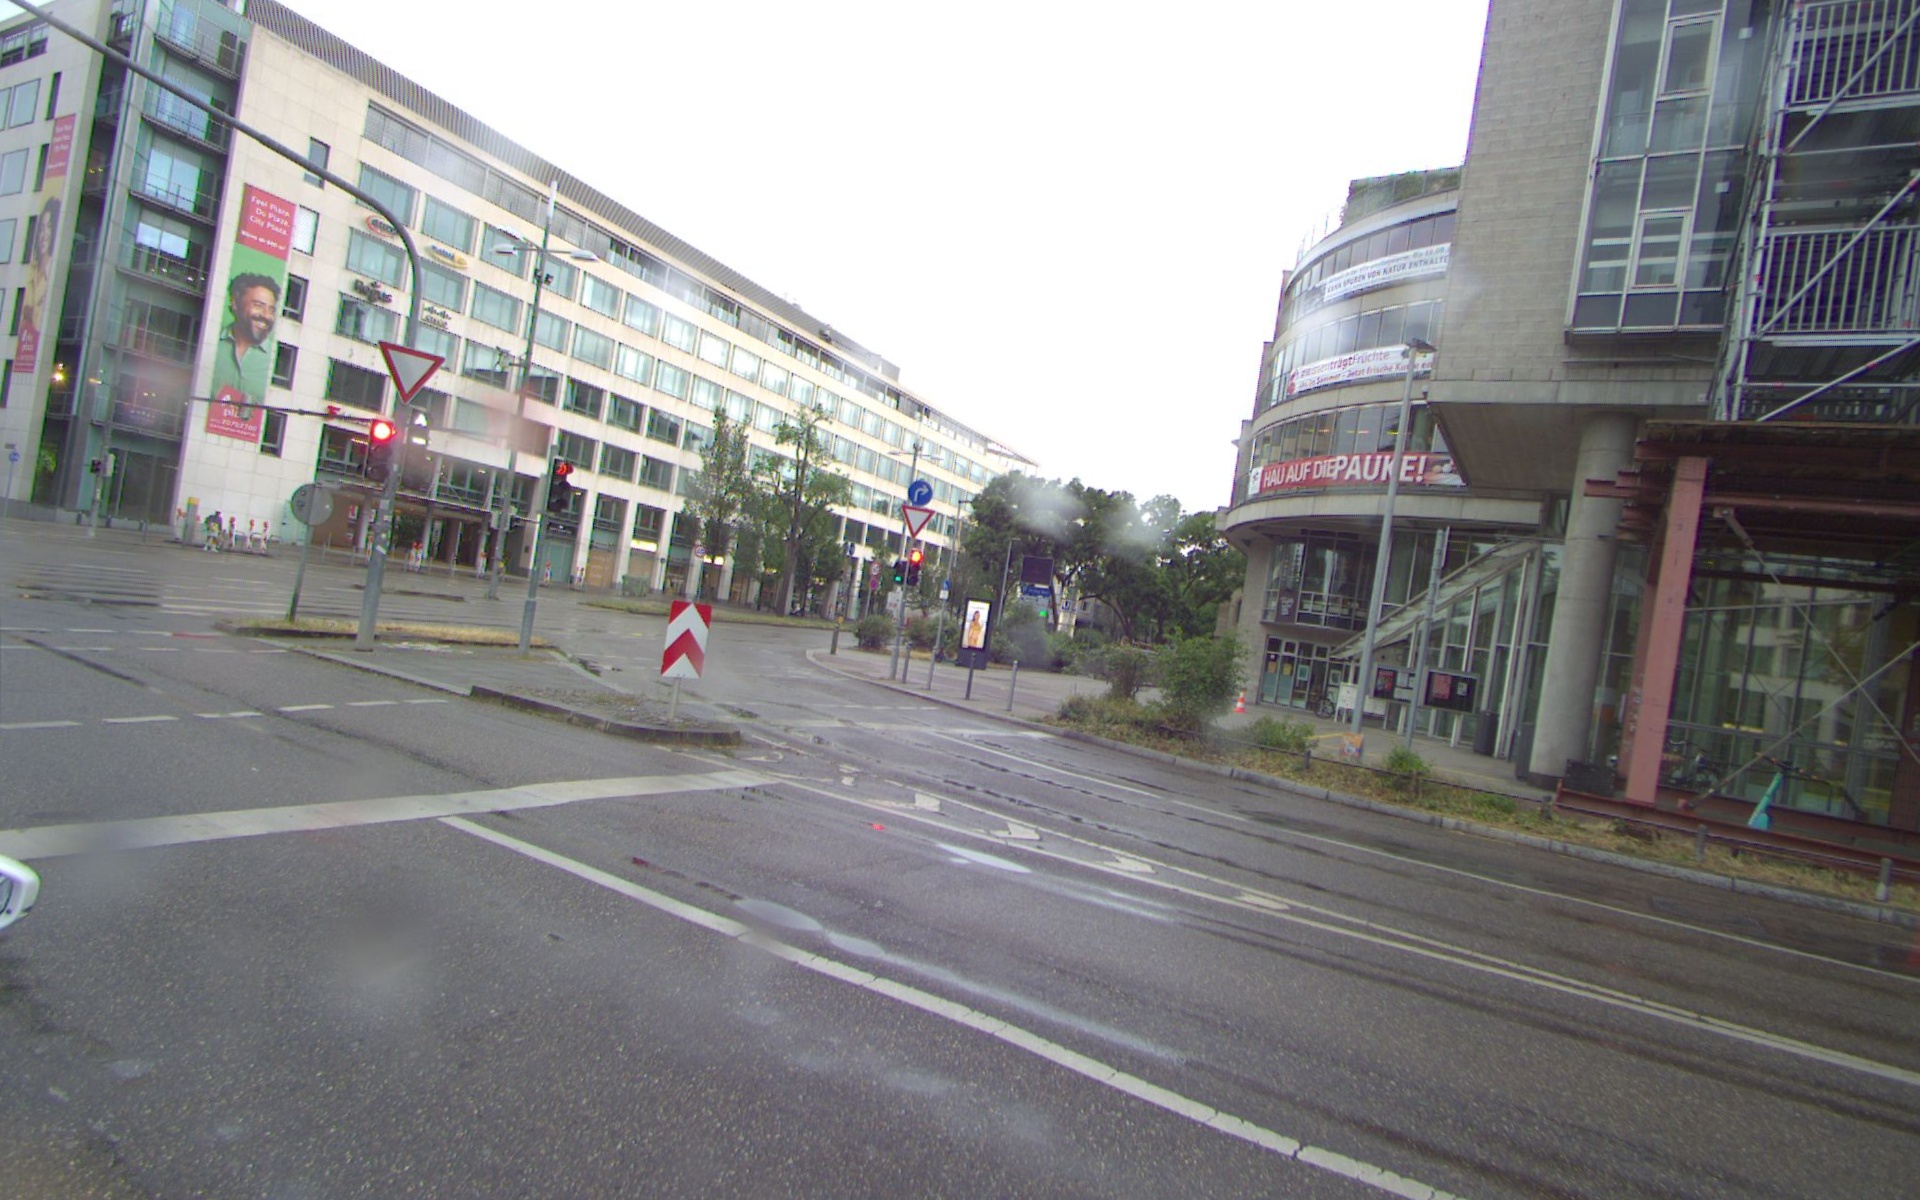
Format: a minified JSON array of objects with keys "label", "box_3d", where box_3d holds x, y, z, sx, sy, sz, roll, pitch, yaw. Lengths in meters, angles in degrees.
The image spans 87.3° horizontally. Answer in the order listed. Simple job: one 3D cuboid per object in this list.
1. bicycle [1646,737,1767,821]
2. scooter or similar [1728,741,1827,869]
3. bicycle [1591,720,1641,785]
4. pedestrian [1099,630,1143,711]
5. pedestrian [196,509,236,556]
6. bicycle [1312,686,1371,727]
[{"label":"bicycle","box_3d":[13.493,3.226,18.221,1.584,1.208,0.587,7,-1,6]},{"label":"scooter or similar","box_3d":[9.229,2.270,11.410,0.577,1.208,1.780,7,-1,34]},{"label":"bicycle","box_3d":[13.616,3.141,20.921,0.576,1.208,1.614,7,-2,27]},{"label":"pedestrian","box_3d":[3.825,1.668,23.876,0.776,1.796,0.781,7,-1,13]},{"label":"pedestrian","box_3d":[-32.085,-2.906,43.406,0.822,1.838,0.963,6,-1,31]},{"label":"bicycle","box_3d":[13.462,3.751,35.523,1.753,1.208,0.586,6,-1,29]}]
